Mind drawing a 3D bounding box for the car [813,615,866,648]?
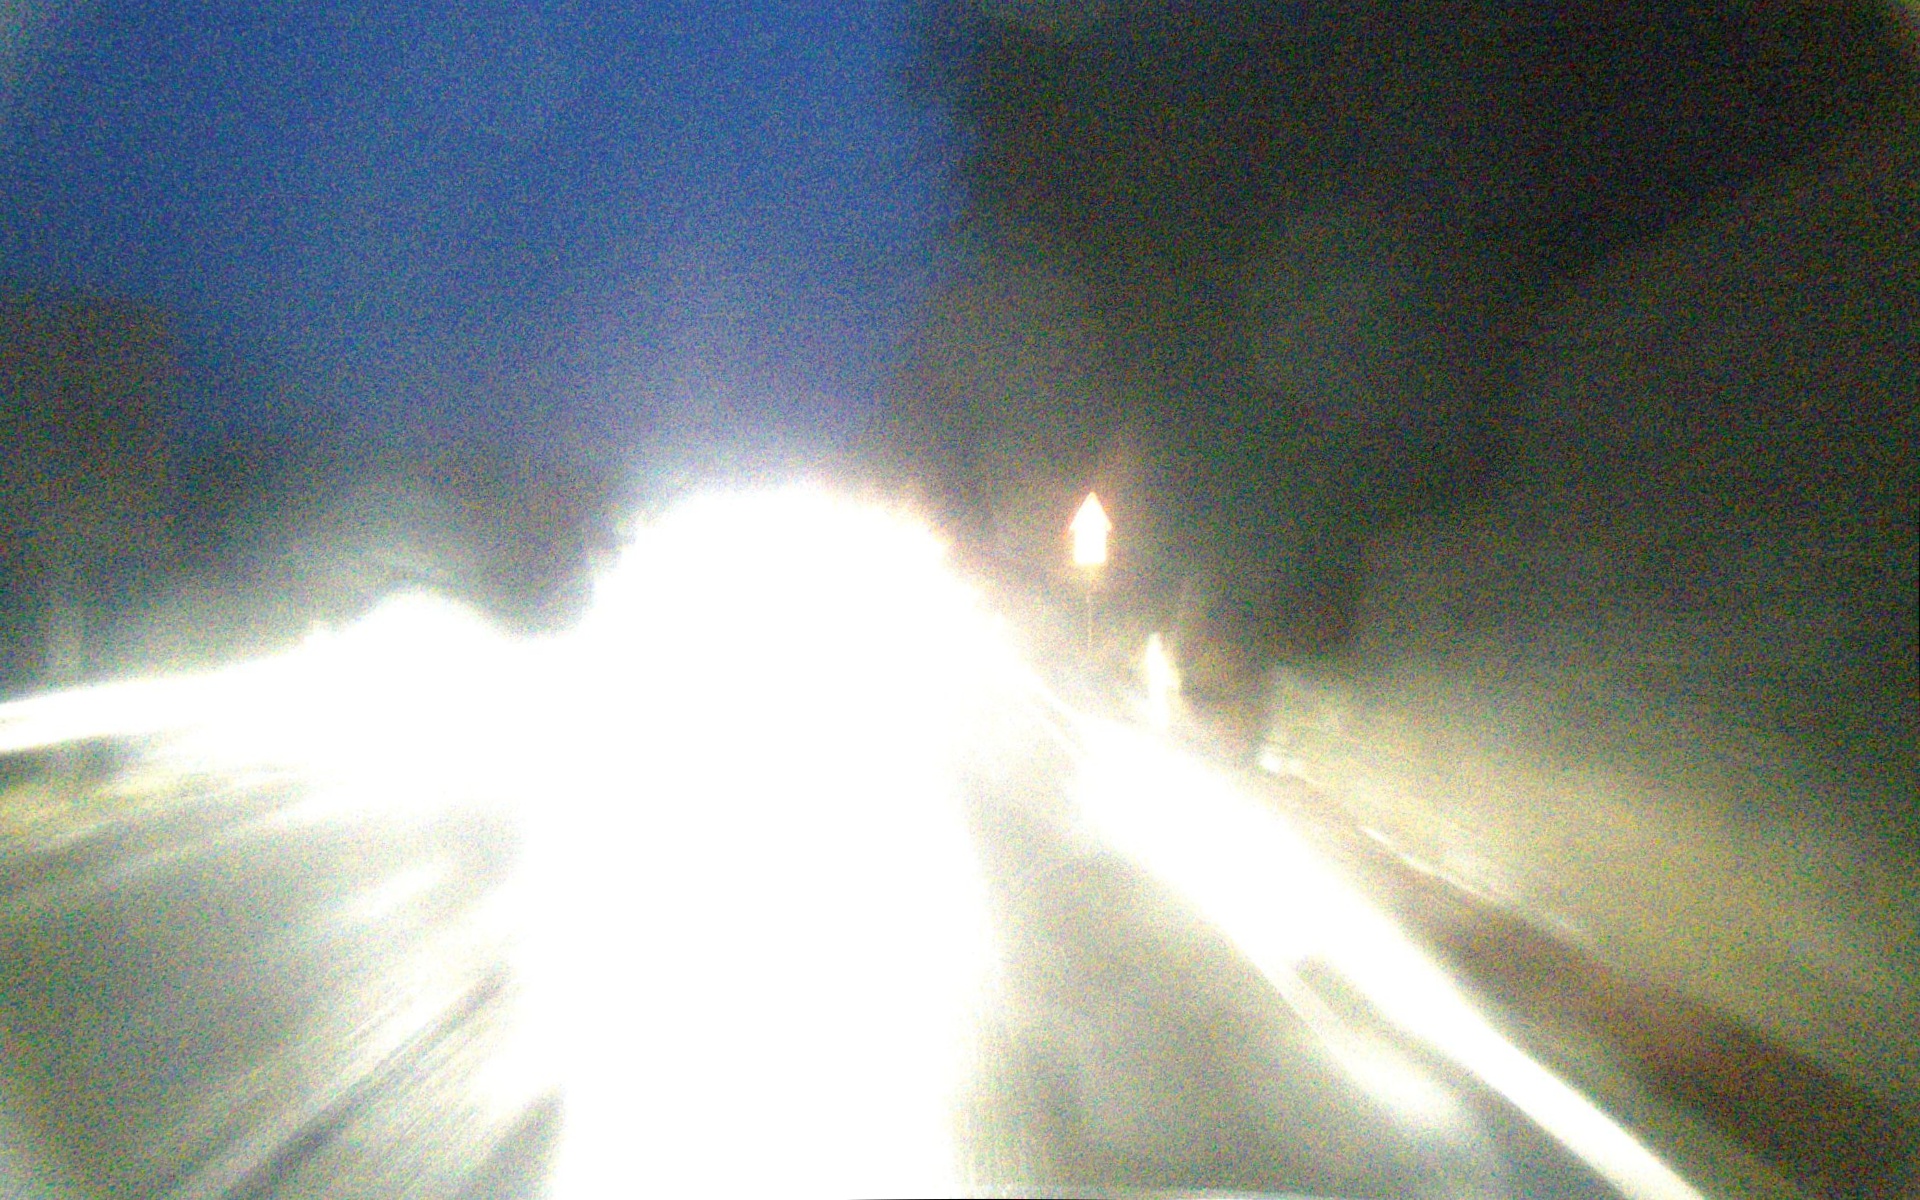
[{"bbox_3d":[-5.571,1.472,76.775,1.934,1.487,4.283,1,-2,3],"label":"car"}]

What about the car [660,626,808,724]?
[{"bbox_3d":[-3.786,1.256,28.451,1.953,1.523,4.355,1,-2,0],"label":"car"}]
